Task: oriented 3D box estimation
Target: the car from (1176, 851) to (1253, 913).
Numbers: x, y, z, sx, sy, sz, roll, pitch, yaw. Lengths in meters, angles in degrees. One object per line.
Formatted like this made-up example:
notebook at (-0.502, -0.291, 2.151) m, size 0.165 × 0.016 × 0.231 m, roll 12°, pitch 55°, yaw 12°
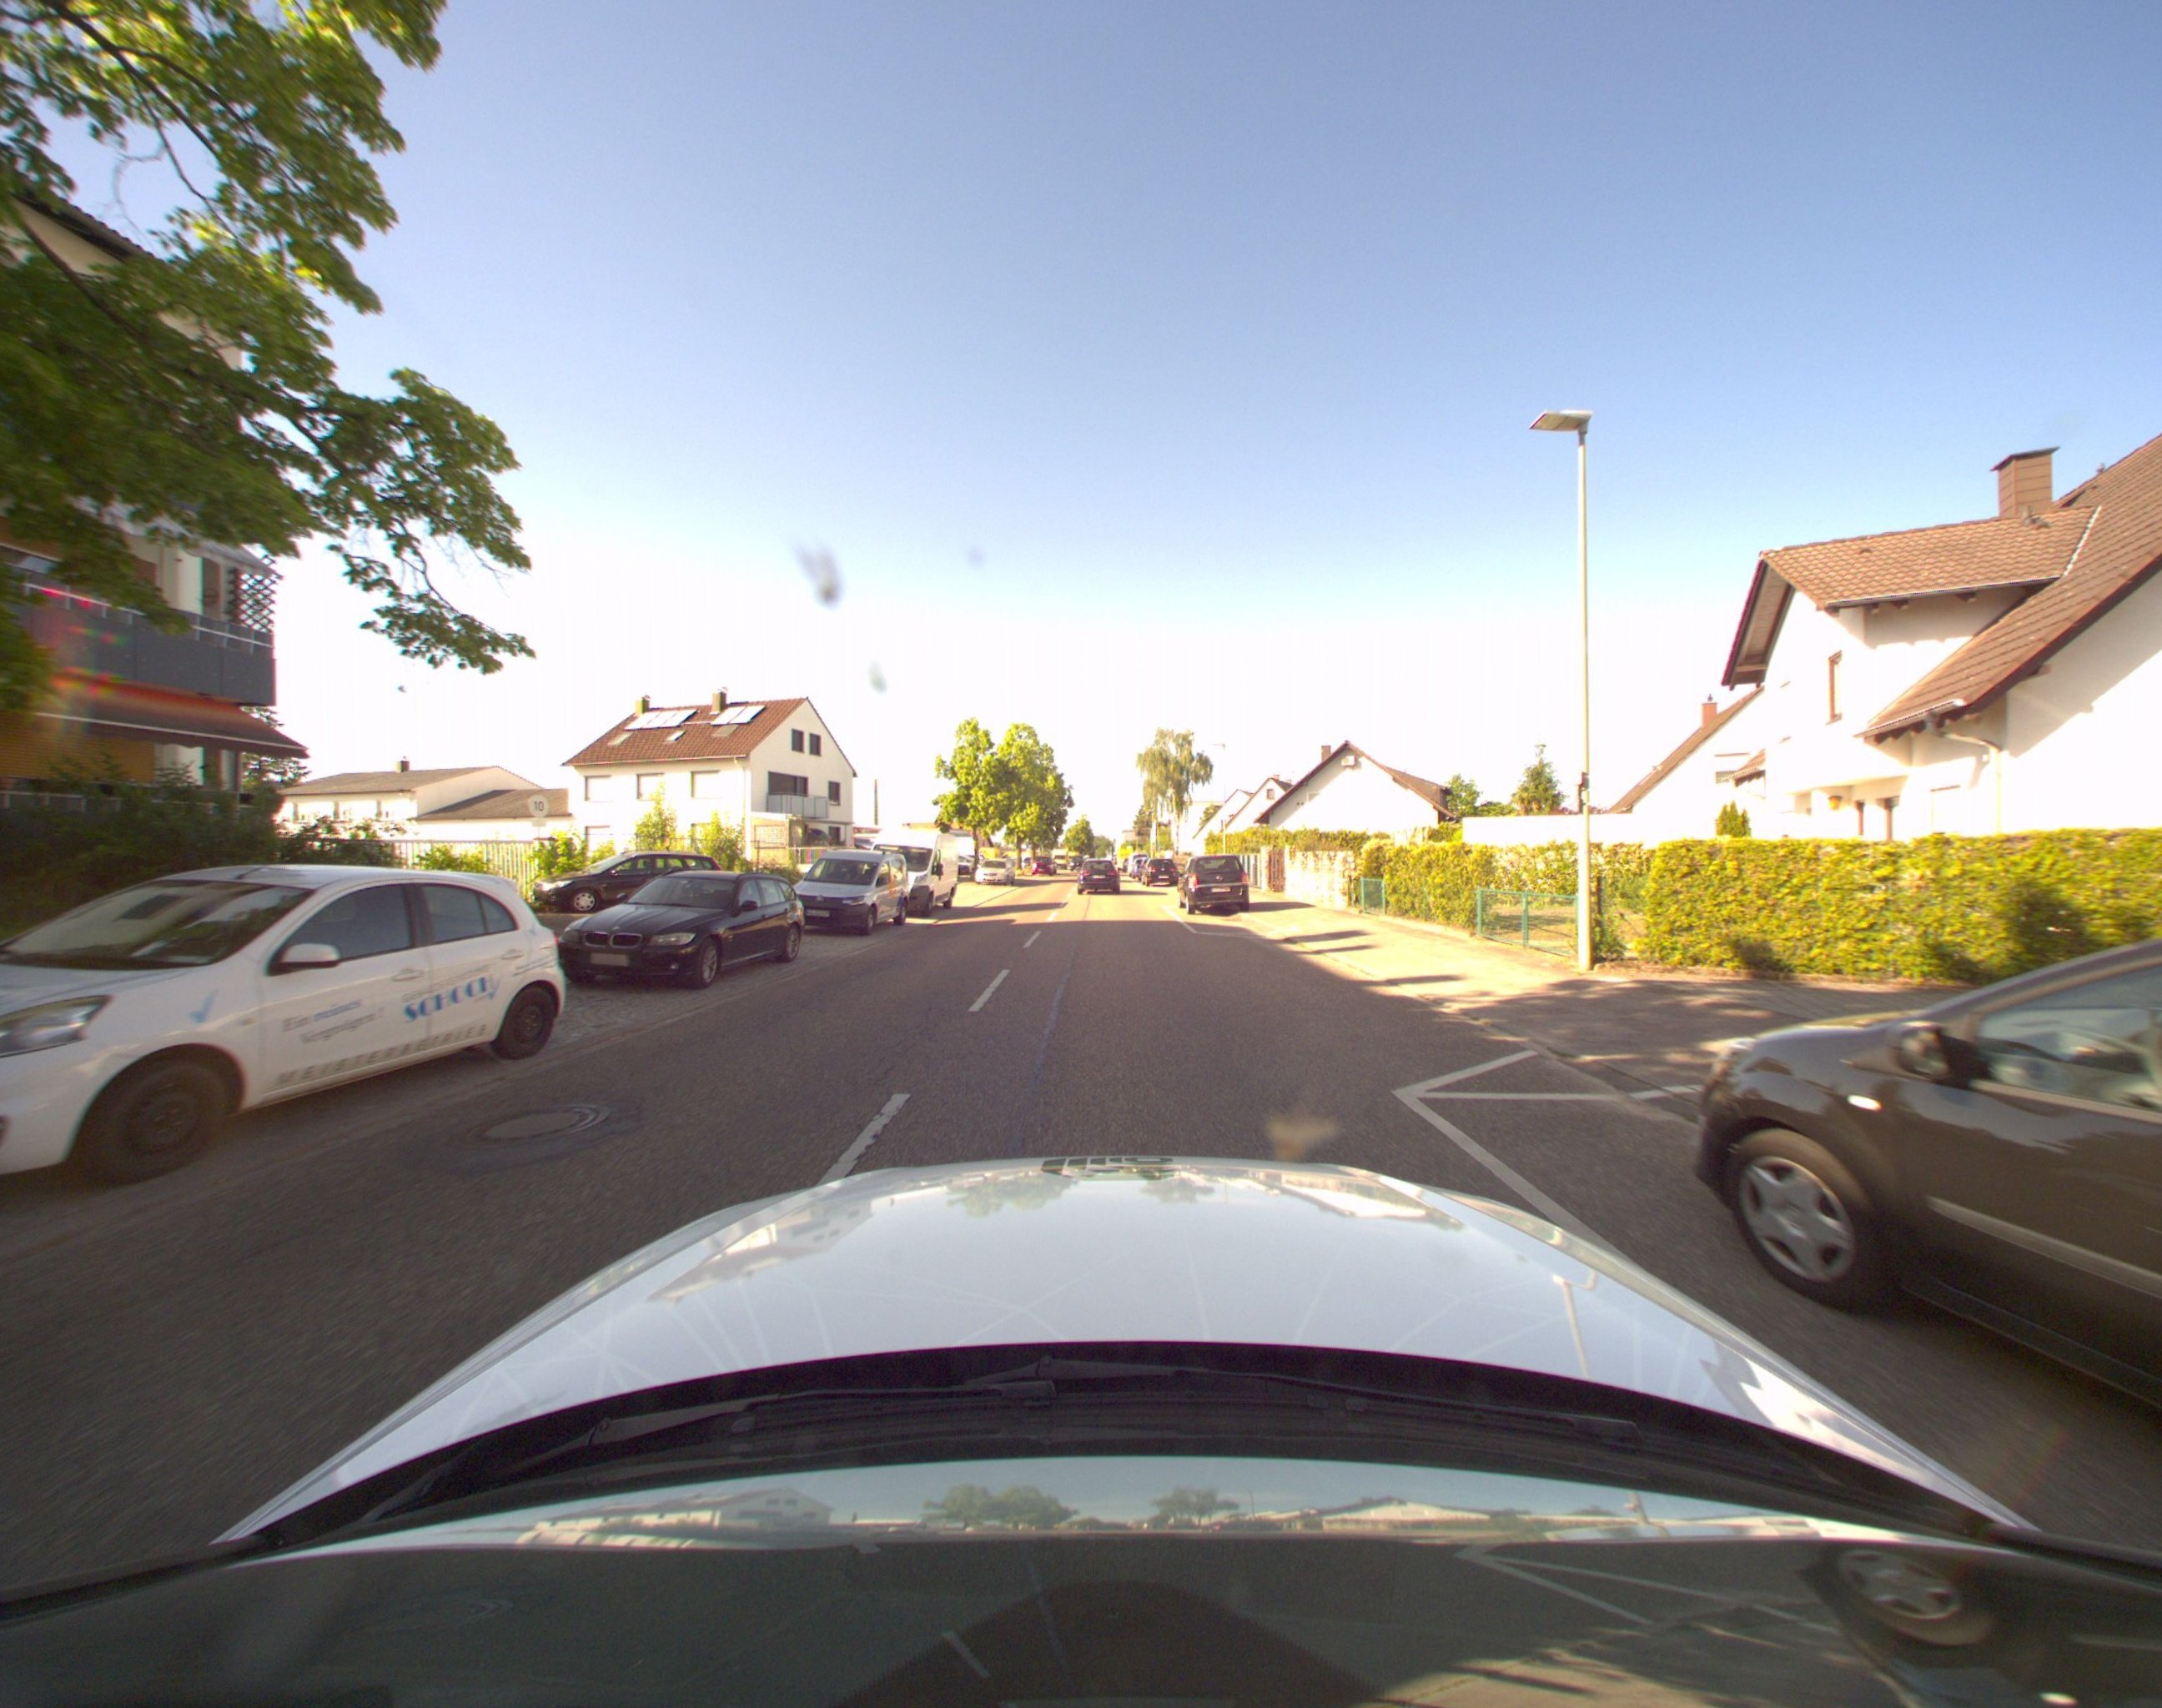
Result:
car at (3.821, 0.740, 23.947) m, size 1.768 × 1.659 × 4.306 m, roll 0°, pitch 0°, yaw 3°

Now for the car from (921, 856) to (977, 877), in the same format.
car at (-10.850, 1.036, 67.182) m, size 4.227 × 1.542 × 1.769 m, roll -1°, pitch 1°, yaw 5°

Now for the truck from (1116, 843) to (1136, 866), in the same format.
truck at (5.986, 0.085, 109.467) m, size 2.394 × 2.936 × 7.018 m, roll -3°, pitch 0°, yaw 1°

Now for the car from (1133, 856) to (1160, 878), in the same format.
car at (4.604, 0.885, 57.220) m, size 1.712 × 1.505 × 3.565 m, roll 0°, pitch 0°, yaw 2°

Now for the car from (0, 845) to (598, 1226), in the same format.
car at (-5.285, 0.765, 5.299) m, size 1.685 × 1.566 × 3.911 m, roll 2°, pitch 0°, yaw 4°

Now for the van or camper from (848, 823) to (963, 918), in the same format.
van or camper at (-5.173, 0.440, 24.938) m, size 2.115 × 2.490 × 5.556 m, roll 3°, pitch 0°, yaw 1°

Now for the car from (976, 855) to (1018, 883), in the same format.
car at (-4.754, 0.821, 46.449) m, size 1.680 × 1.435 × 4.212 m, roll 2°, pitch 0°, yaw 3°

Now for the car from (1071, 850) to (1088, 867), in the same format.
car at (-0.144, 0.533, 101.847) m, size 1.887 × 2.031 × 4.820 m, roll -2°, pitch 0°, yaw 2°

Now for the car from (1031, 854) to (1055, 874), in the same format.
car at (-3.384, 0.869, 73.376) m, size 1.797 × 1.752 × 4.343 m, roll 1°, pitch 0°, yaw 2°

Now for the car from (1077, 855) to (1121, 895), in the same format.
car at (0.794, 0.842, 34.385) m, size 1.705 × 1.532 × 3.690 m, roll -1°, pitch 0°, yaw 2°

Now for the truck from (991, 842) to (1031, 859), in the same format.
truck at (-10.948, -0.518, 127.870) m, size 5.881 × 2.567 × 2.231 m, roll 1°, pitch 0°, yaw 12°

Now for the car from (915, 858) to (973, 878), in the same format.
car at (-10.909, 1.085, 64.933) m, size 4.226 × 1.542 × 1.769 m, roll 0°, pitch 0°, yaw 7°

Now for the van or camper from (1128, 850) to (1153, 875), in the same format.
van or camper at (4.614, 0.644, 63.425) m, size 1.712 × 1.890 × 4.181 m, roll 0°, pitch 0°, yaw 2°

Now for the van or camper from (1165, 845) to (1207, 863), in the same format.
van or camper at (15.644, 0.051, 121.401) m, size 5.842 × 2.541 × 2.271 m, roll -1°, pitch 0°, yaw -25°

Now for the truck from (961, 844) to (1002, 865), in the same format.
truck at (-15.392, 0.072, 126.077) m, size 5.630 × 3.119 × 2.531 m, roll 1°, pitch 0°, yaw 12°

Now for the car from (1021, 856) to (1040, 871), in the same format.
car at (-6.026, 1.169, 97.258) m, size 1.855 × 1.590 × 4.276 m, roll -1°, pitch -2°, yaw 1°

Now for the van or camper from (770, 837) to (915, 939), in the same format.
van or camper at (-5.270, 0.684, 18.640) m, size 1.870 × 2.013 × 4.281 m, roll 2°, pitch 0°, yaw 2°

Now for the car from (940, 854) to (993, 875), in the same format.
car at (-9.900, 0.880, 70.645) m, size 4.229 × 1.752 × 1.768 m, roll -1°, pitch 0°, yaw 4°

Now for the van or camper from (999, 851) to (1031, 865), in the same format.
van or camper at (-10.094, 0.574, 124.764) m, size 4.518 × 2.013 × 2.256 m, roll -1°, pitch 0°, yaw 7°

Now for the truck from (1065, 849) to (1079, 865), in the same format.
truck at (-1.612, 0.558, 151.017) m, size 2.394 × 2.983 × 6.376 m, roll 1°, pitch 0°, yaw 2°

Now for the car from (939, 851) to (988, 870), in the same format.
car at (-10.984, 0.585, 76.318) m, size 4.226 × 1.728 × 1.769 m, roll -1°, pitch 0°, yaw 7°

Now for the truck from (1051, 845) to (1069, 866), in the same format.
truck at (-3.023, 0.262, 119.508) m, size 2.395 × 2.983 × 7.245 m, roll 1°, pitch 0°, yaw 0°

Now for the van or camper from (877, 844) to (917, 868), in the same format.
van or camper at (-22.273, 0.225, 98.893) m, size 2.150 × 2.715 × 6.290 m, roll -1°, pitch 0°, yaw 12°

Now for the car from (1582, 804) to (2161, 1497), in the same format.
car at (3.314, 0.681, 2.072) m, size 1.652 × 1.601 × 3.813 m, roll 0°, pitch 0°, yaw -2°

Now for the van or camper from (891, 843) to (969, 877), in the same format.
van or camper at (-10.573, 0.408, 57.287) m, size 4.857 × 2.320 × 2.252 m, roll 0°, pitch -1°, yaw 14°

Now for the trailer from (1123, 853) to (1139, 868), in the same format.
trailer at (5.190, 0.707, 85.441) m, size 1.621 × 1.538 × 3.200 m, roll -1°, pitch 0°, yaw 2°

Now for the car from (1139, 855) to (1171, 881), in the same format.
car at (4.556, 0.836, 50.609) m, size 1.713 × 1.505 × 3.907 m, roll 0°, pitch 0°, yaw 0°

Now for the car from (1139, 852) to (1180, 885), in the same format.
car at (4.111, 0.740, 43.243) m, size 1.770 × 1.659 × 3.815 m, roll 0°, pitch 0°, yaw 0°

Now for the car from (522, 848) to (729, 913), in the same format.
car at (-11.701, 0.599, 21.154) m, size 1.594 × 1.513 × 4.415 m, roll 0°, pitch 0°, yaw 41°

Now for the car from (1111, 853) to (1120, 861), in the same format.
car at (8.007, 0.773, 189.432) m, size 1.912 × 1.825 × 4.081 m, roll -1°, pitch 0°, yaw 2°

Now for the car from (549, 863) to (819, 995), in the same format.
car at (-5.320, 0.899, 11.640) m, size 1.603 × 1.435 × 4.315 m, roll 1°, pitch 0°, yaw 2°
